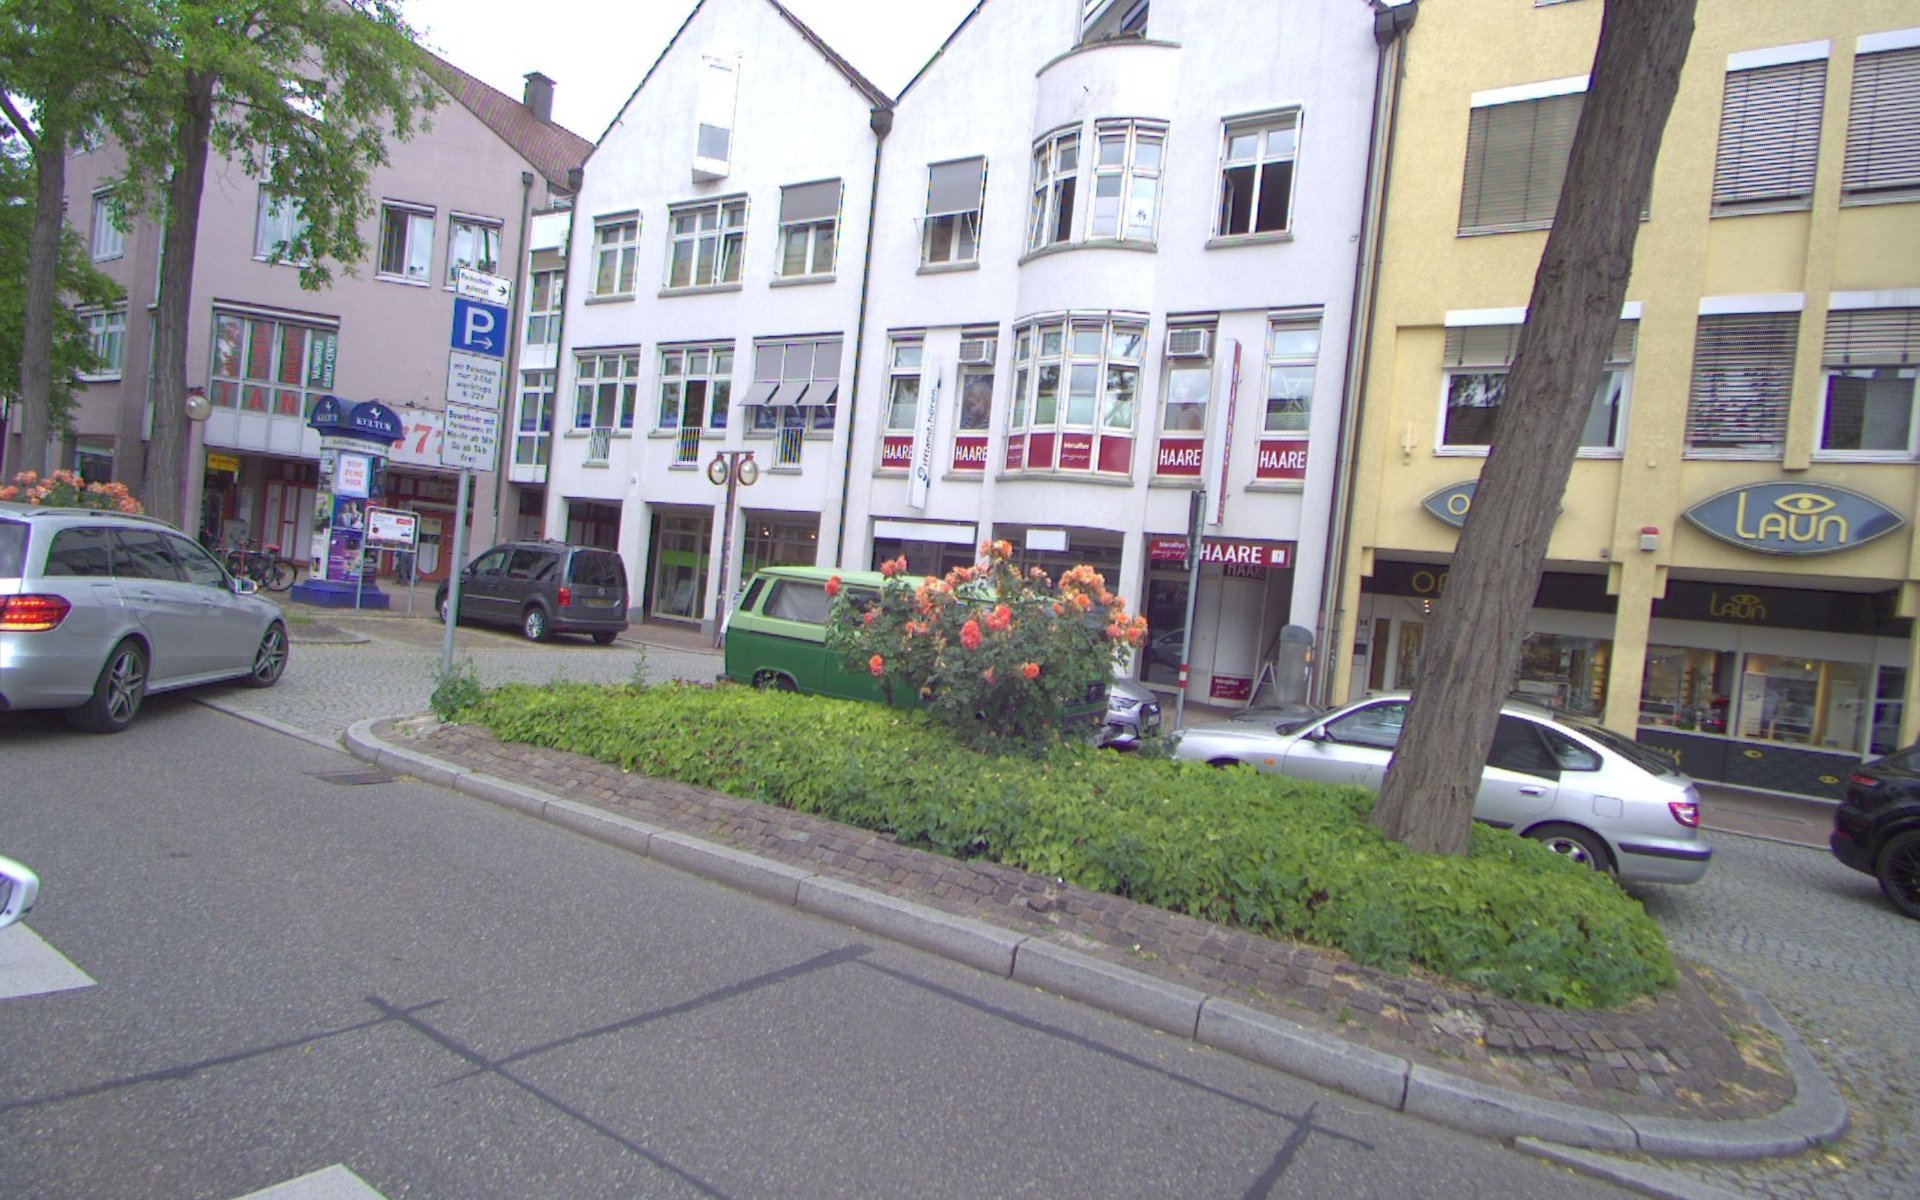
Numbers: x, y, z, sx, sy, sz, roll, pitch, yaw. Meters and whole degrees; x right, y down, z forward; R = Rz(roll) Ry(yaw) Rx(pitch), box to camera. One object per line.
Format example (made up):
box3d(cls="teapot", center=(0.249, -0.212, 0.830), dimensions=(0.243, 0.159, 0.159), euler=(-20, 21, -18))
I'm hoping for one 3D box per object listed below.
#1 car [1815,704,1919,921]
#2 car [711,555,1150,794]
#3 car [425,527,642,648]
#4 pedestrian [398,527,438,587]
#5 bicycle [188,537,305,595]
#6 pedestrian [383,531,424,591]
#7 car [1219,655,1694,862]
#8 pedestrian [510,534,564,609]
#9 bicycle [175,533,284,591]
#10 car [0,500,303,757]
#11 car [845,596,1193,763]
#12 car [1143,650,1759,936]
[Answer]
box3d(cls="car", center=(9.340, 1.961, 7.081), dimensions=(1.832, 1.692, 4.641), euler=(6, 1, -20))
box3d(cls="car", center=(-0.411, 0.701, 11.419), dimensions=(4.527, 1.900, 1.882), euler=(7, 1, 30))
box3d(cls="car", center=(-8.287, -0.254, 19.488), dimensions=(3.898, 1.855, 1.640), euler=(7, 1, 27))
box3d(cls="pedestrian", center=(-15.282, -1.212, 28.375), dimensions=(0.610, 1.583, 0.665), euler=(7, 0, 3))
box3d(cls="bicycle", center=(-15.105, -0.702, 21.343), dimensions=(0.460, 1.009, 1.901), euler=(7, 0, 36))
box3d(cls="pedestrian", center=(-15.306, -1.064, 27.666), dimensions=(0.610, 1.534, 0.611), euler=(7, 0, 2))
box3d(cls="car", center=(5.428, 1.602, 11.414), dimensions=(4.344, 1.394, 1.999), euler=(7, 1, 30))
box3d(cls="pedestrian", center=(-10.983, -0.731, 26.124), dimensions=(0.805, 1.815, 0.790), euler=(7, 1, 31))
box3d(cls="bicycle", center=(-15.612, -0.799, 21.546), dimensions=(0.440, 1.009, 1.769), euler=(7, 0, 36))
box3d(cls="car", center=(-6.856, 0.059, 7.703), dimensions=(1.795, 1.465, 4.355), euler=(8, -2, -17))
box3d(cls="car", center=(0.755, 0.986, 13.813), dimensions=(4.319, 1.562, 1.798), euler=(7, 1, 30))
box3d(cls="car", center=(4.061, 1.467, 8.901), dimensions=(4.344, 1.468, 1.765), euler=(7, 0, 30))
